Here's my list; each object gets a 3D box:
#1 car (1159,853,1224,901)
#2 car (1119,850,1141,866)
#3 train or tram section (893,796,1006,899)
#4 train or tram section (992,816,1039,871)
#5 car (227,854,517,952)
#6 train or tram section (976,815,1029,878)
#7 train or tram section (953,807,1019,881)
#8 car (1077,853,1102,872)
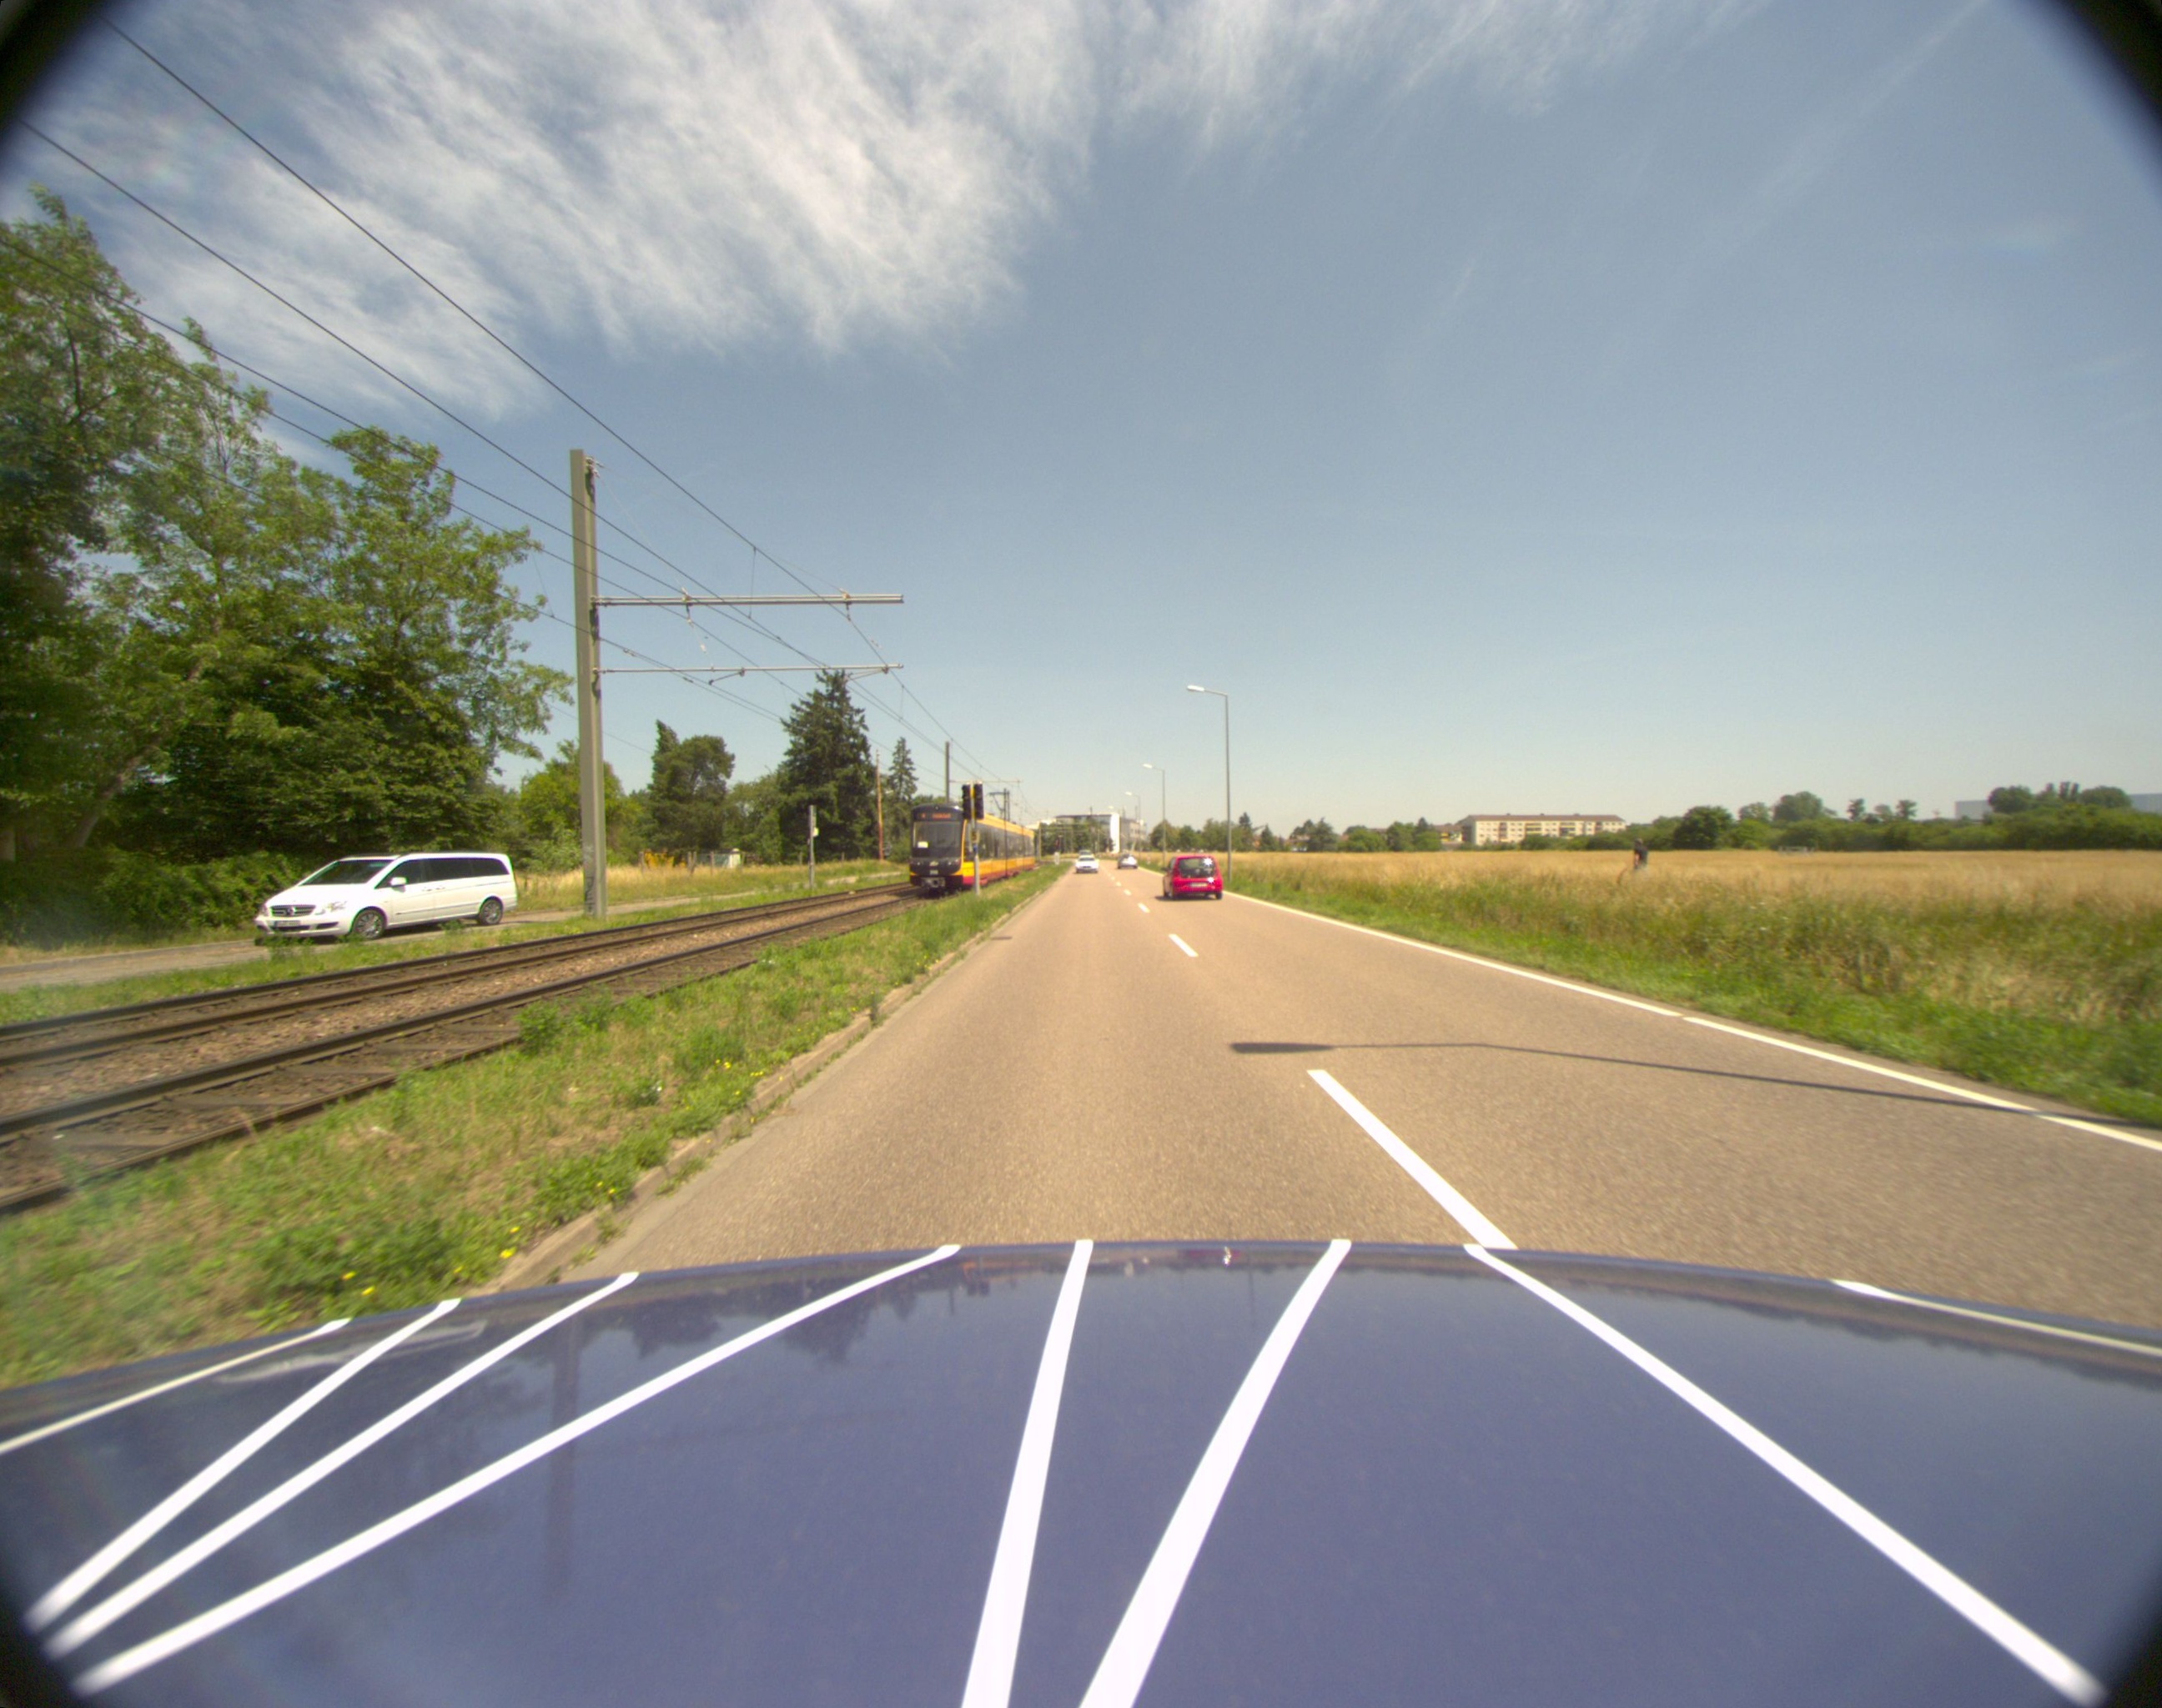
[{"bbox_3d":[3.641,0.707,25.556,1.649,1.392,3.843,0,1,1],"label":"car"},{"bbox_3d":[4.733,0.390,73.932,1.839,1.458,4.678,-1,0,1],"label":"car"},{"bbox_3d":[-5.238,-0.346,32.686,2.772,3.668,11.183,0,1,1],"label":"train or tram section"},{"bbox_3d":[-4.759,-0.819,57.520,2.435,3.745,11.556,0,1,1],"label":"train or tram section"},{"bbox_3d":[-16.127,0.995,17.803,1.998,1.865,5.013,0,1,1],"label":"car"},{"bbox_3d":[-4.894,-0.524,48.408,2.567,3.692,6.728,0,1,1],"label":"train or tram section"},{"bbox_3d":[-5.053,-0.575,41.669,2.708,3.745,6.728,0,1,1],"label":"train or tram section"},{"bbox_3d":[0.717,0.655,63.598,1.771,1.434,4.130,0,1,5],"label":"car"}]
